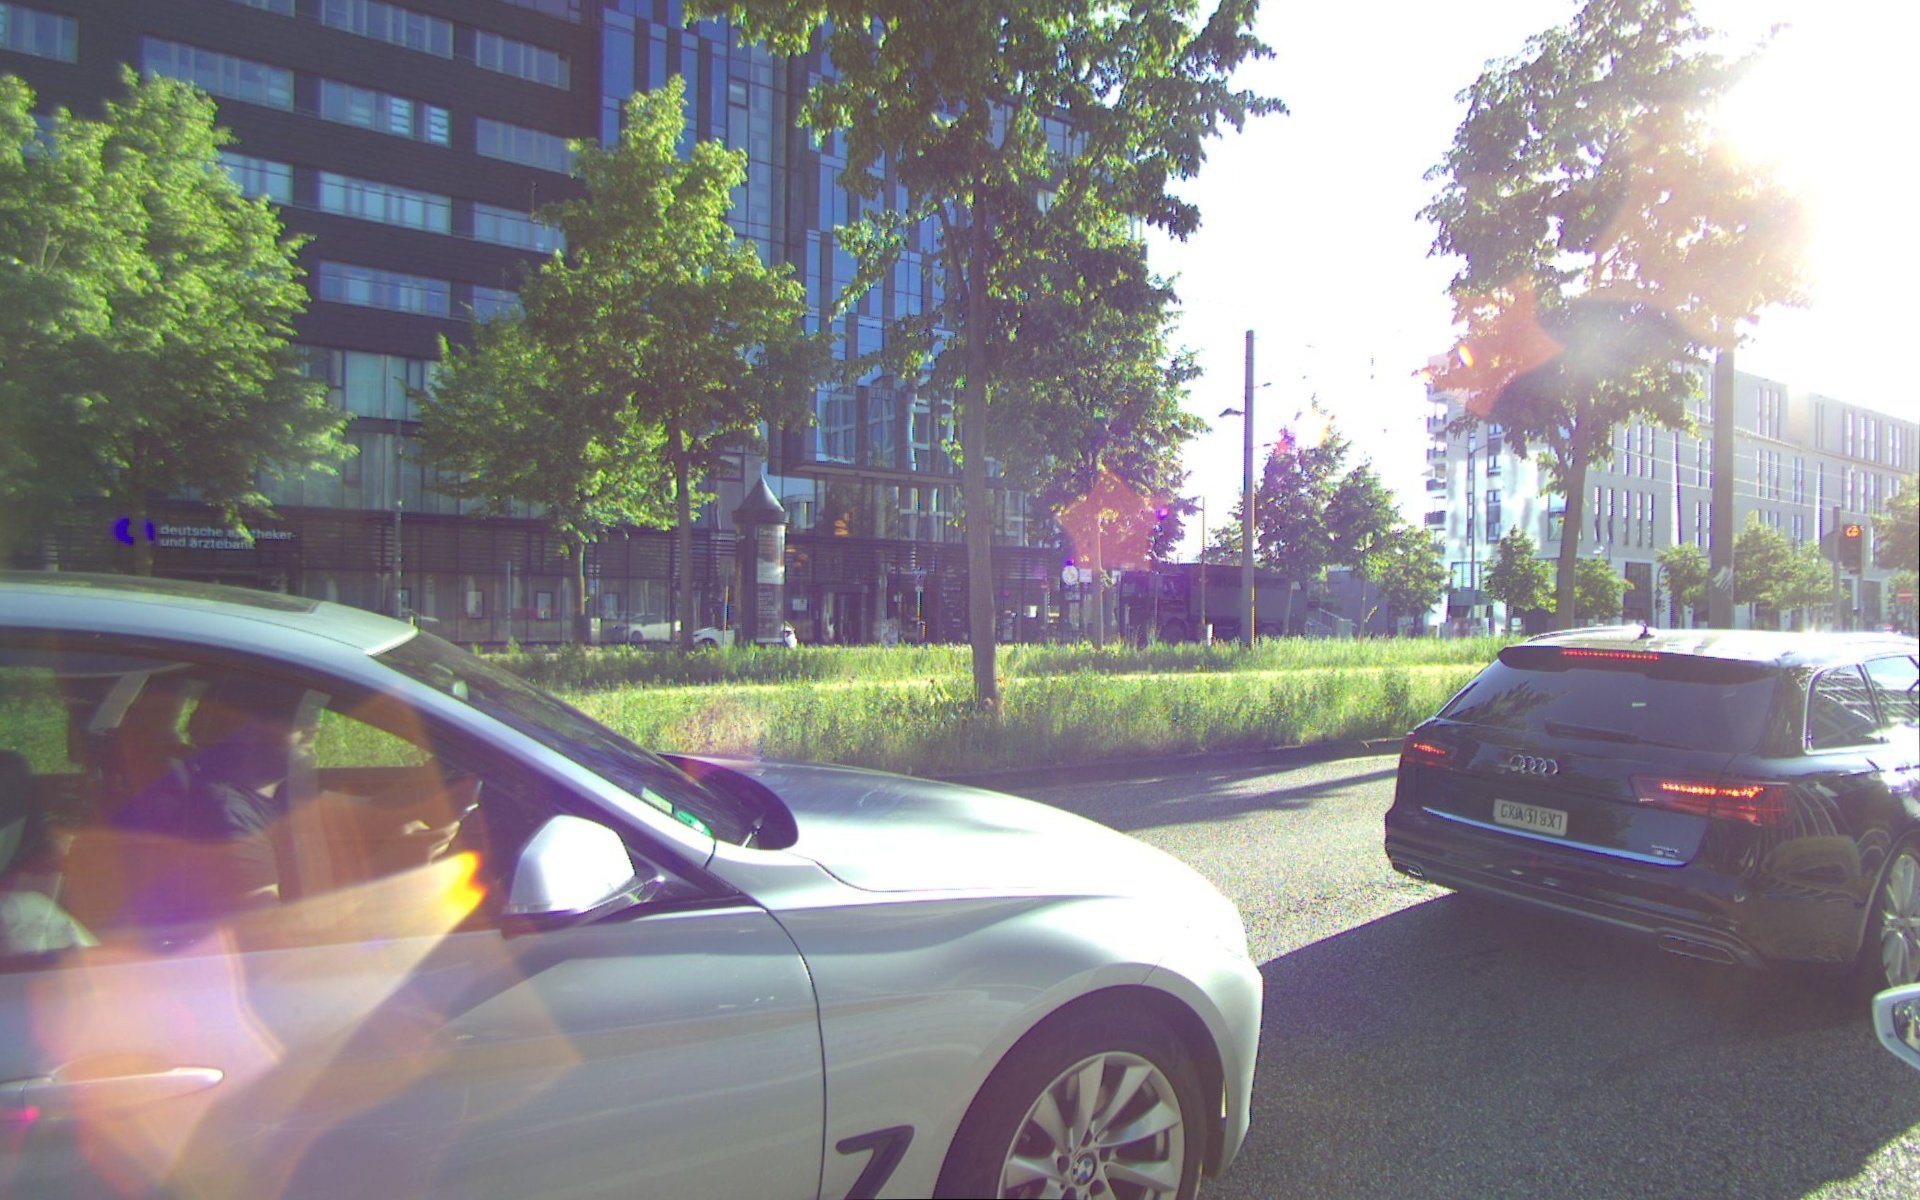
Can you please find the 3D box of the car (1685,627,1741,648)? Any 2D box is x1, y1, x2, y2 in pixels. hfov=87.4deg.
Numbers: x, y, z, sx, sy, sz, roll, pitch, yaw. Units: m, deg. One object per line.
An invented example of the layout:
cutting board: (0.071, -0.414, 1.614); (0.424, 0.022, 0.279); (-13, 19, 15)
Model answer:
car: (52.617, 2.630, 70.139); (4.420, 1.360, 1.572); (2, -1, -31)

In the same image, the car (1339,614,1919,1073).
car: (4.193, 0.848, 5.197); (4.455, 1.476, 1.799); (1, -1, -31)

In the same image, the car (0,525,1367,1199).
car: (-1.496, 0.674, 1.923); (4.689, 1.508, 1.799); (1, -1, -31)

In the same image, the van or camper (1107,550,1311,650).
van or camper: (11.655, 0.111, 46.537); (10.109, 4.248, 2.740); (2, -1, -30)

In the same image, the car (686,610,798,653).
car: (-8.003, 1.156, 37.150); (3.927, 1.525, 1.756); (1, -1, -9)

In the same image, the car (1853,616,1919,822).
car: (9.240, 0.938, 8.139); (4.063, 1.548, 1.800); (1, -1, -30)
